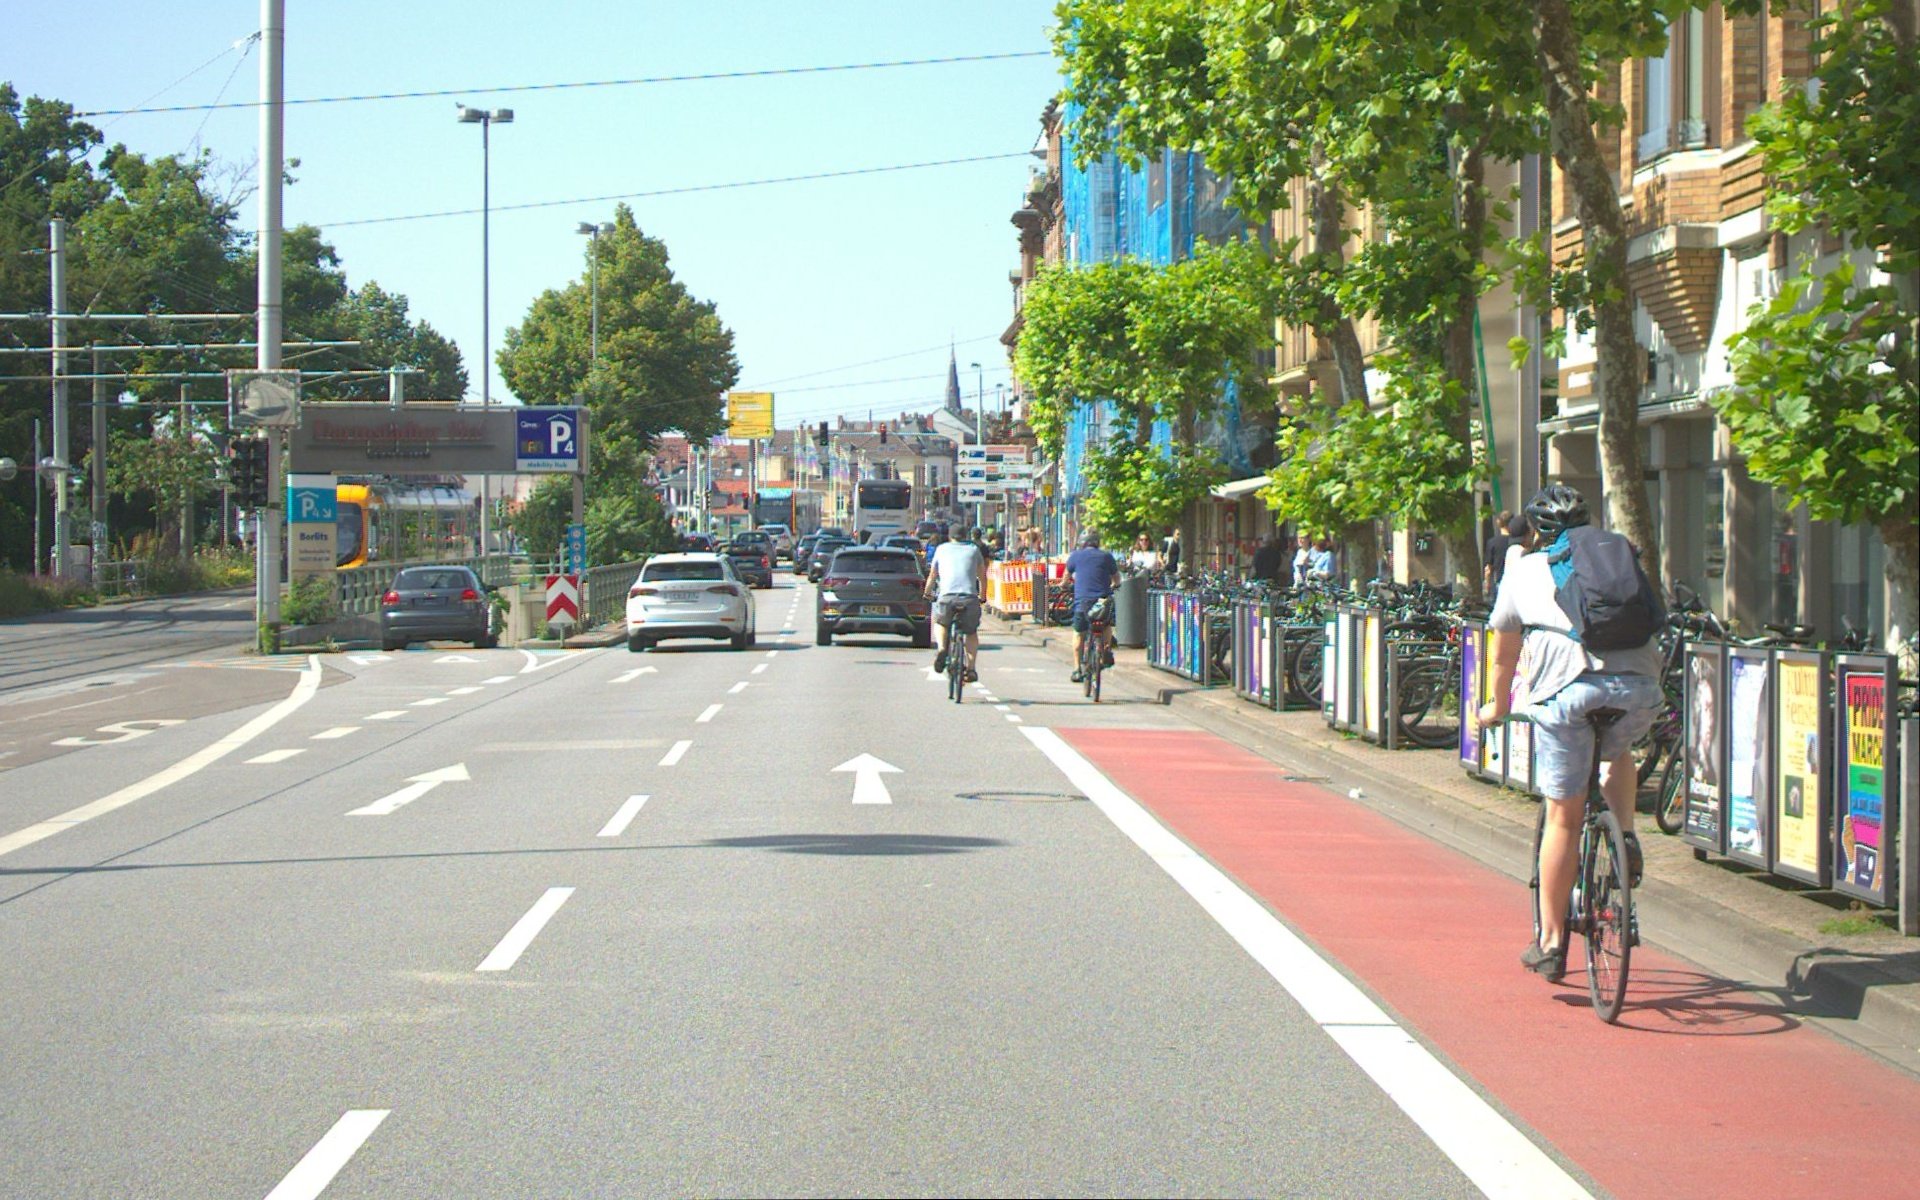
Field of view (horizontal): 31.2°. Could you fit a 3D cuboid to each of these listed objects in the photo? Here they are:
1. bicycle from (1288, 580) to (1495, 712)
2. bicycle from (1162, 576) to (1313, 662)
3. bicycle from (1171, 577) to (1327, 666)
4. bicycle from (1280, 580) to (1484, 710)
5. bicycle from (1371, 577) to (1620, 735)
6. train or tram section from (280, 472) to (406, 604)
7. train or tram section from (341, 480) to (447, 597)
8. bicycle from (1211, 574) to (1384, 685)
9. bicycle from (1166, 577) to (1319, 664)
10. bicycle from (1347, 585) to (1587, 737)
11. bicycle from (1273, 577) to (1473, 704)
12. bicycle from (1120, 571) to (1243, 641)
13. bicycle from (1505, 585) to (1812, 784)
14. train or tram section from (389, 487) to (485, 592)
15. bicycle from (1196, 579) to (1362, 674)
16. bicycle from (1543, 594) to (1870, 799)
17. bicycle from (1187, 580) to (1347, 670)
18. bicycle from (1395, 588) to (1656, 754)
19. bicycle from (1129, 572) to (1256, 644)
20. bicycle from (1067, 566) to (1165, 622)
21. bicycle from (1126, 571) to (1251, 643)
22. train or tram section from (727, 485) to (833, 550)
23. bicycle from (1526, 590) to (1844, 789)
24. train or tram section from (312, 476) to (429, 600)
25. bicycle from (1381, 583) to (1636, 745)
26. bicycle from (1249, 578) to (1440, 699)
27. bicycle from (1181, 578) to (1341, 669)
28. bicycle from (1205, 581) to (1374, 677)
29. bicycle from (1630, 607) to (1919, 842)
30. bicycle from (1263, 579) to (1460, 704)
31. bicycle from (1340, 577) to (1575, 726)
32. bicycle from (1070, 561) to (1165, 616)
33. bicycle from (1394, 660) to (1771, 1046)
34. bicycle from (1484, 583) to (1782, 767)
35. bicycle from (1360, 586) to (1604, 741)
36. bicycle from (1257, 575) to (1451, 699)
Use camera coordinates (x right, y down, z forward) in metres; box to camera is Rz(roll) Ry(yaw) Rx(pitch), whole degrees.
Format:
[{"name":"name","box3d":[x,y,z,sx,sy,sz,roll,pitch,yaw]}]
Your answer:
[{"name":"bicycle","box3d":[3.823,0.407,30.493,1.752,1.143,0.483,0,1,-4]},{"name":"bicycle","box3d":[3.333,0.231,41.381,1.752,1.014,0.483,0,1,-4]},{"name":"bicycle","box3d":[3.379,0.248,40.231,1.752,1.014,0.483,0,1,-4]},{"name":"bicycle","box3d":[3.800,0.399,30.978,1.752,1.143,0.483,0,1,-4]},{"name":"bicycle","box3d":[3.963,0.413,25.495,1.752,1.143,0.483,0,1,-4]},{"name":"train or tram section","box3d":[-17.651,-1.776,98.646,2.613,3.569,6.104,2,1,-2]},{"name":"train or tram section","box3d":[-18.147,-1.966,110.447,2.613,3.569,5.358,2,1,-2]},{"name":"bicycle","box3d":[3.560,0.309,36.326,1.752,1.143,0.483,0,1,-4]},{"name":"bicycle","box3d":[3.350,0.239,40.795,1.752,1.014,0.483,0,1,-4]},{"name":"bicycle","box3d":[3.899,0.465,26.495,1.752,1.143,0.483,0,1,-4]},{"name":"bicycle","box3d":[3.773,0.371,31.478,1.752,1.143,0.483,0,0,-4]},{"name":"bicycle","box3d":[3.268,0.091,50.769,1.752,1.014,0.557,0,1,-4]},{"name":"bicycle","box3d":[4.243,0.511,20.929,1.752,1.183,0.483,0,1,-4]},{"name":"train or tram section","box3d":[-18.666,-2.168,123.028,2.613,3.569,6.018,2,1,-2]},{"name":"bicycle","box3d":[3.491,0.287,37.708,1.752,1.014,0.483,0,1,-4]},{"name":"bicycle","box3d":[4.275,0.547,19.731,1.752,1.143,0.483,0,1,-4]},{"name":"bicycle","box3d":[3.428,0.276,38.477,1.717,0.981,0.483,0,1,-4]},{"name":"bicycle","box3d":[4.005,0.499,24.392,1.752,1.143,0.499,0,1,-4]},{"name":"bicycle","box3d":[3.320,0.113,49.082,1.752,1.014,0.483,0,1,-4]},{"name":"bicycle","box3d":[2.868,-0.115,63.236,1.752,1.014,0.483,0,1,-4]},{"name":"bicycle","box3d":[3.292,0.105,49.598,1.752,1.014,0.483,0,1,-4]},{"name":"train or tram section","box3d":[-10.570,-4.823,202.805,2.825,3.569,10.024,2,1,17]},{"name":"bicycle","box3d":[4.267,0.524,20.272,1.752,1.143,0.483,0,1,-4]},{"name":"train or tram section","box3d":[-17.911,-1.874,104.732,2.613,3.569,6.104,2,1,-2]},{"name":"bicycle","box3d":[3.980,0.461,24.977,1.752,1.143,0.483,0,1,-4]},{"name":"bicycle","box3d":[3.684,0.366,32.964,1.752,1.143,0.483,0,1,-4]},{"name":"bicycle","box3d":[3.427,0.266,39.179,1.752,1.014,0.483,0,1,-4]},{"name":"bicycle","box3d":[3.535,0.310,36.937,1.752,1.014,0.483,0,1,-4]},{"name":"bicycle","box3d":[4.278,0.616,17.154,1.752,1.143,0.483,0,1,-4]},{"name":"bicycle","box3d":[3.730,0.382,31.973,1.752,1.143,0.483,0,1,-4]},{"name":"bicycle","box3d":[3.900,0.401,27.004,1.752,1.143,0.483,0,1,-4]},{"name":"bicycle","box3d":[2.981,-0.215,65.204,1.752,1.014,0.483,0,1,-4]},{"name":"bicycle","box3d":[2.046,0.797,11.617,0.734,1.089,2.131,2,1,-3]},{"name":"bicycle","box3d":[4.203,0.465,21.504,1.752,1.119,0.483,0,1,-4]},{"name":"bicycle","box3d":[3.938,0.473,25.988,1.752,1.143,0.483,0,1,-4]},{"name":"bicycle","box3d":[3.715,0.348,32.463,1.752,1.143,0.483,0,1,-4]}]
